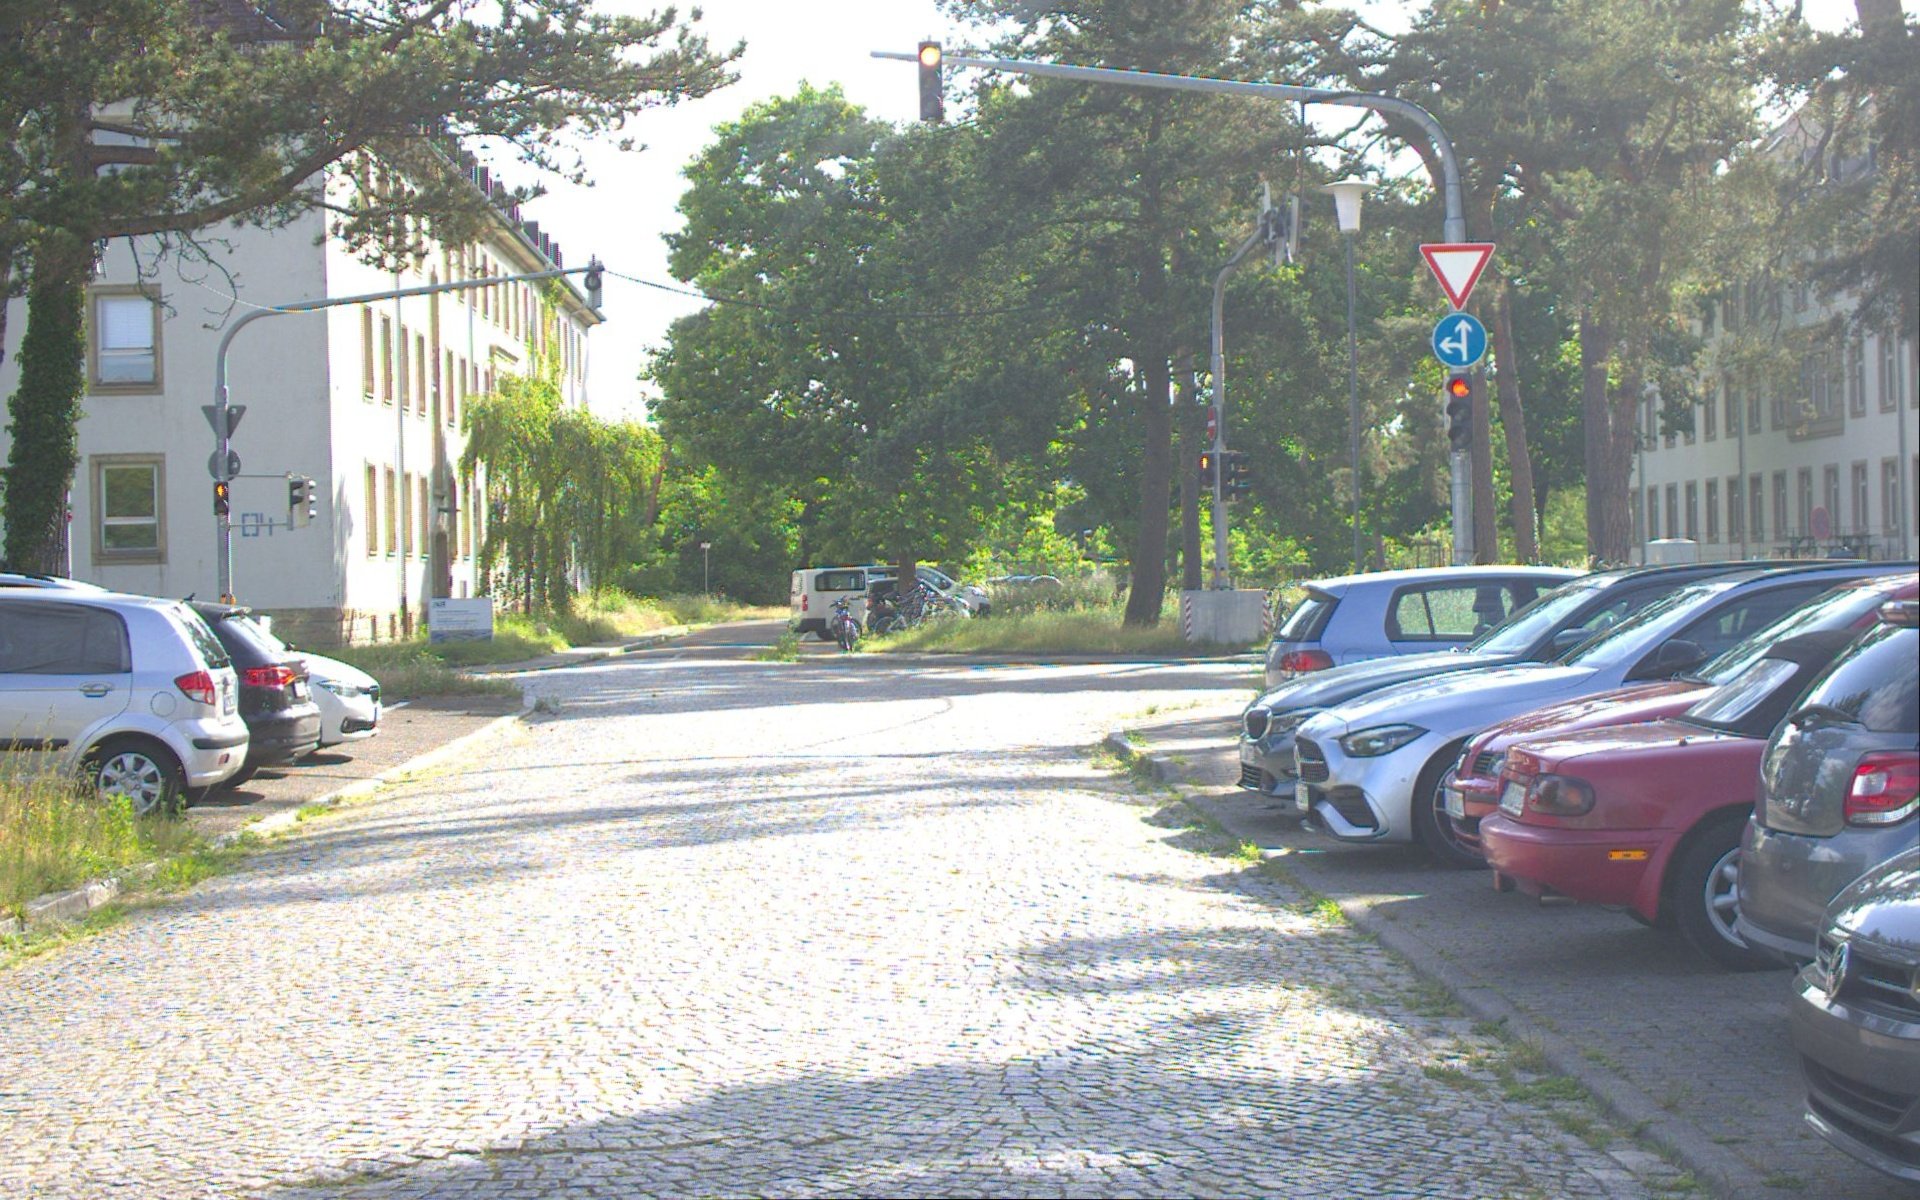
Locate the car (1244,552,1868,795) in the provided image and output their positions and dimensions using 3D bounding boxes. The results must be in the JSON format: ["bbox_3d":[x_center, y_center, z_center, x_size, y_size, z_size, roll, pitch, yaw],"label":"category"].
[{"bbox_3d":[3.974,0.470,23.345,3.882,1.410,1.637,-3,1,-1],"label":"car"}]

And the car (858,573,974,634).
[{"bbox_3d":[-1.121,0.090,86.613,2.781,1.462,1.671,1,0,-6],"label":"car"}]

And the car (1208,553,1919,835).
[{"bbox_3d":[3.857,0.524,20.563,4.559,1.410,1.637,-3,1,-1],"label":"car"}]

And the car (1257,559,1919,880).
[{"bbox_3d":[3.871,0.560,17.847,4.432,1.410,1.781,-3,1,-1],"label":"car"}]

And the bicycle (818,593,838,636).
[{"bbox_3d":[-3.130,0.350,81.756,0.417,1.007,1.483,1,0,-1],"label":"bicycle"}]

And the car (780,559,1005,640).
[{"bbox_3d":[-1.766,-0.013,90.192,5.520,2.007,2.001,1,0,-19],"label":"car"}]

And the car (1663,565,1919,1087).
[{"bbox_3d":[4.283,0.573,10.768,3.707,1.444,1.816,-3,1,-1],"label":"car"}]

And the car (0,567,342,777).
[{"bbox_3d":[-7.165,0.547,27.788,4.079,1.588,1.886,1,1,-4],"label":"car"}]

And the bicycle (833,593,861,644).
[{"bbox_3d":[-2.253,0.363,68.552,0.467,1.007,1.586,1,0,-5],"label":"bicycle"}]

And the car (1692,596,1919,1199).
[{"bbox_3d":[3.757,0.667,7.850,3.707,1.444,1.856,-3,1,-1],"label":"car"}]

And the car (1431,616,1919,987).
[{"bbox_3d":[3.838,0.696,13.364,3.707,1.219,1.746,-3,1,-1],"label":"car"}]

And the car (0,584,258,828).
[{"bbox_3d":[-6.543,0.641,22.190,3.745,1.482,1.646,1,1,-4],"label":"car"}]

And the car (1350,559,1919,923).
[{"bbox_3d":[3.974,0.570,15.712,4.127,1.444,1.637,-3,1,-1],"label":"car"}]

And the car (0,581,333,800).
[{"bbox_3d":[-6.648,0.615,24.795,3.986,1.475,1.803,1,1,-4],"label":"car"}]

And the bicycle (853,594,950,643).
[{"bbox_3d":[-1.260,0.393,73.846,2.004,1.007,0.632,1,0,-9],"label":"bicycle"}]

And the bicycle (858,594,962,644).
[{"bbox_3d":[-1.050,0.391,72.165,2.108,1.007,0.621,1,0,-9],"label":"bicycle"}]

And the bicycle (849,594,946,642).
[{"bbox_3d":[-1.359,0.394,74.727,2.027,1.007,0.627,1,0,-9],"label":"bicycle"}]

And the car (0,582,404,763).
[{"bbox_3d":[-7.146,0.611,30.078,4.333,1.463,1.831,1,1,-4],"label":"car"}]
